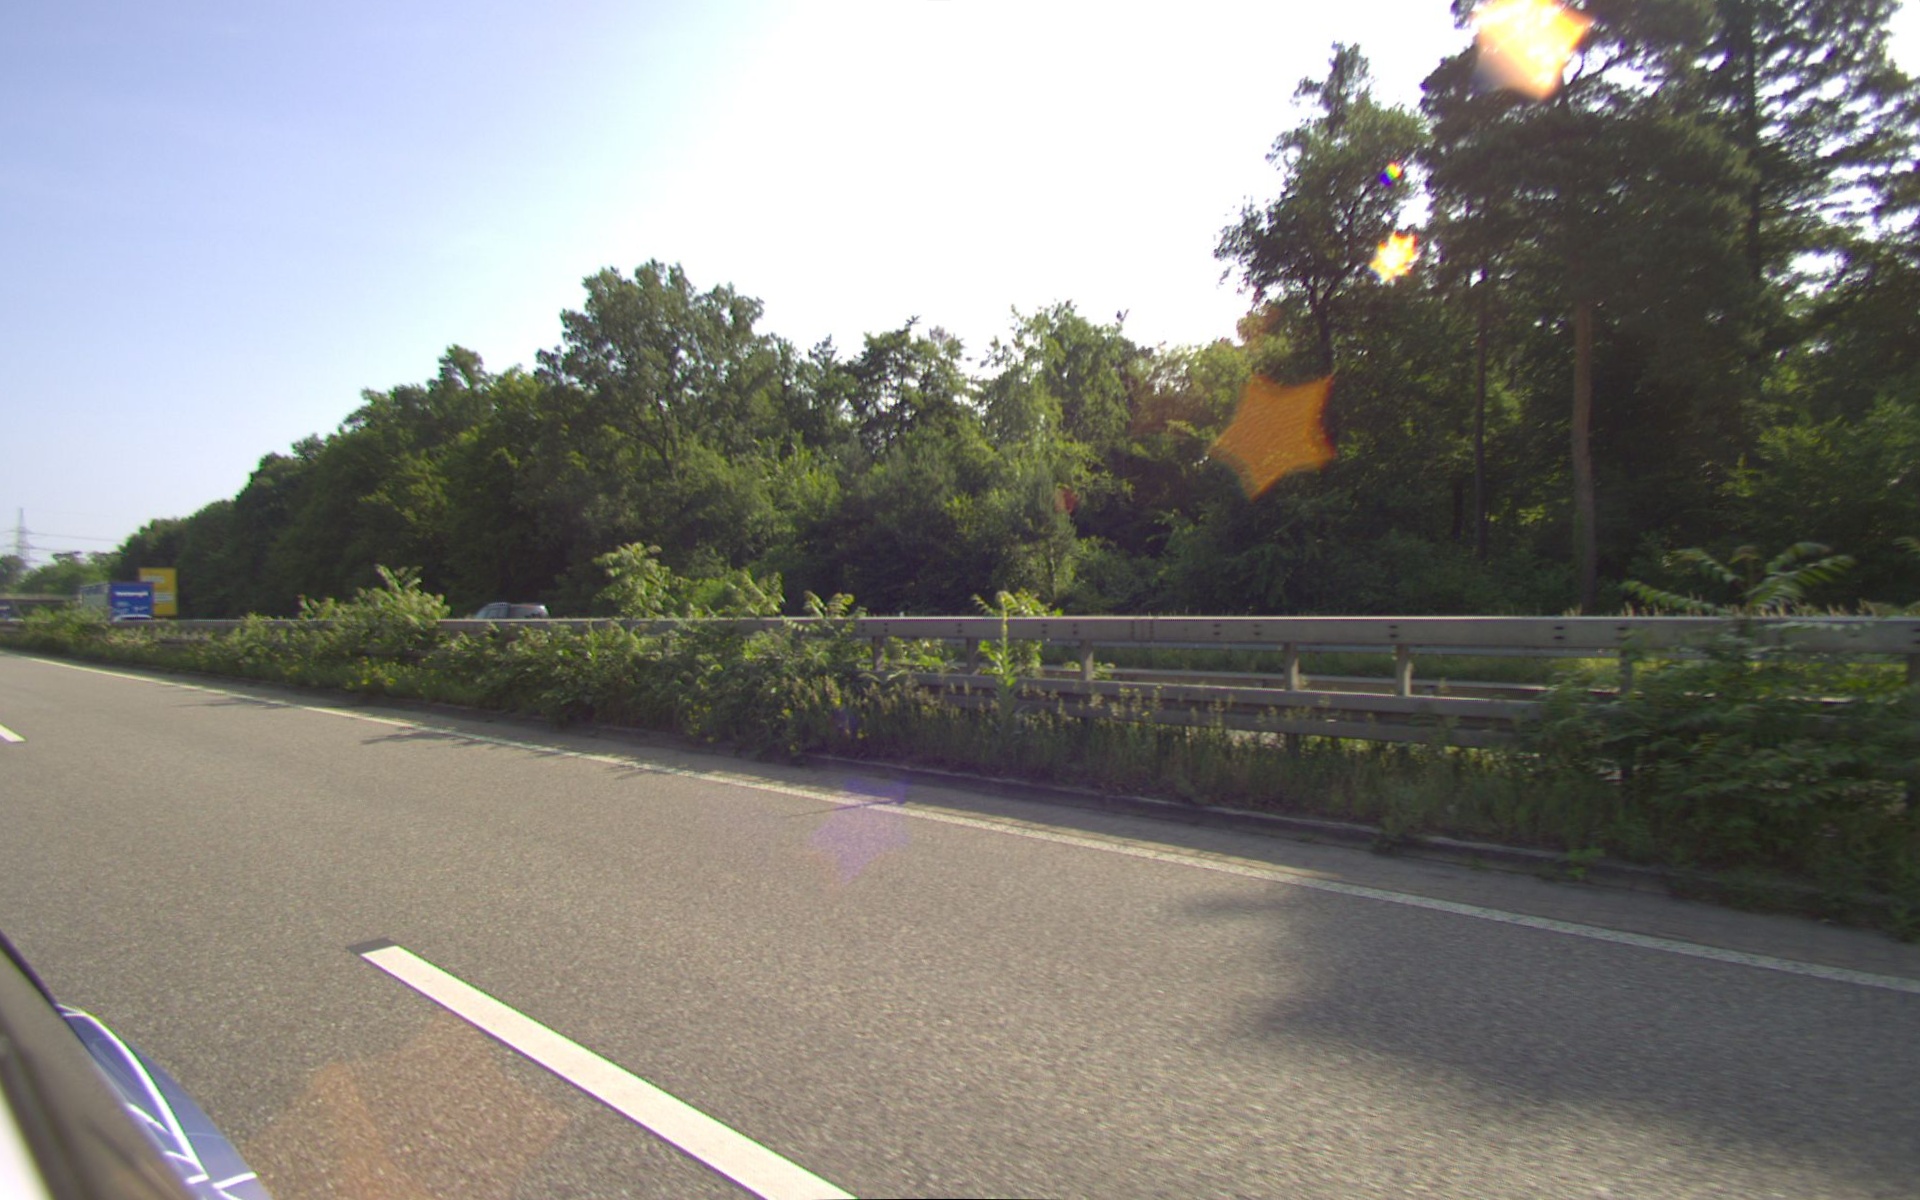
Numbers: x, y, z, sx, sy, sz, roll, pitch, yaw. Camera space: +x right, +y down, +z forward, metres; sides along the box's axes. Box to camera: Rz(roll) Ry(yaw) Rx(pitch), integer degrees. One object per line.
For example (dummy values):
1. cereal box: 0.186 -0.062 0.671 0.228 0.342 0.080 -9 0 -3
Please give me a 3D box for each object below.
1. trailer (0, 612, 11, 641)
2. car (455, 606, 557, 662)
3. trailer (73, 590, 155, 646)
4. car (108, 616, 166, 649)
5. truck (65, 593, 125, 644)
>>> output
1. trailer: -138.284 3.817 144.290 14.310 4.101 2.935 -2 -2 41
2. car: -14.709 1.075 32.721 3.502 1.704 1.634 -1 -1 40
3. trailer: -65.172 1.445 77.812 13.318 4.039 2.862 -1 -3 42
4. car: -42.708 1.660 52.484 3.663 1.599 1.726 -1 -1 41
5. truck: -70.995 1.580 83.018 6.023 4.063 2.862 -2 -3 42
